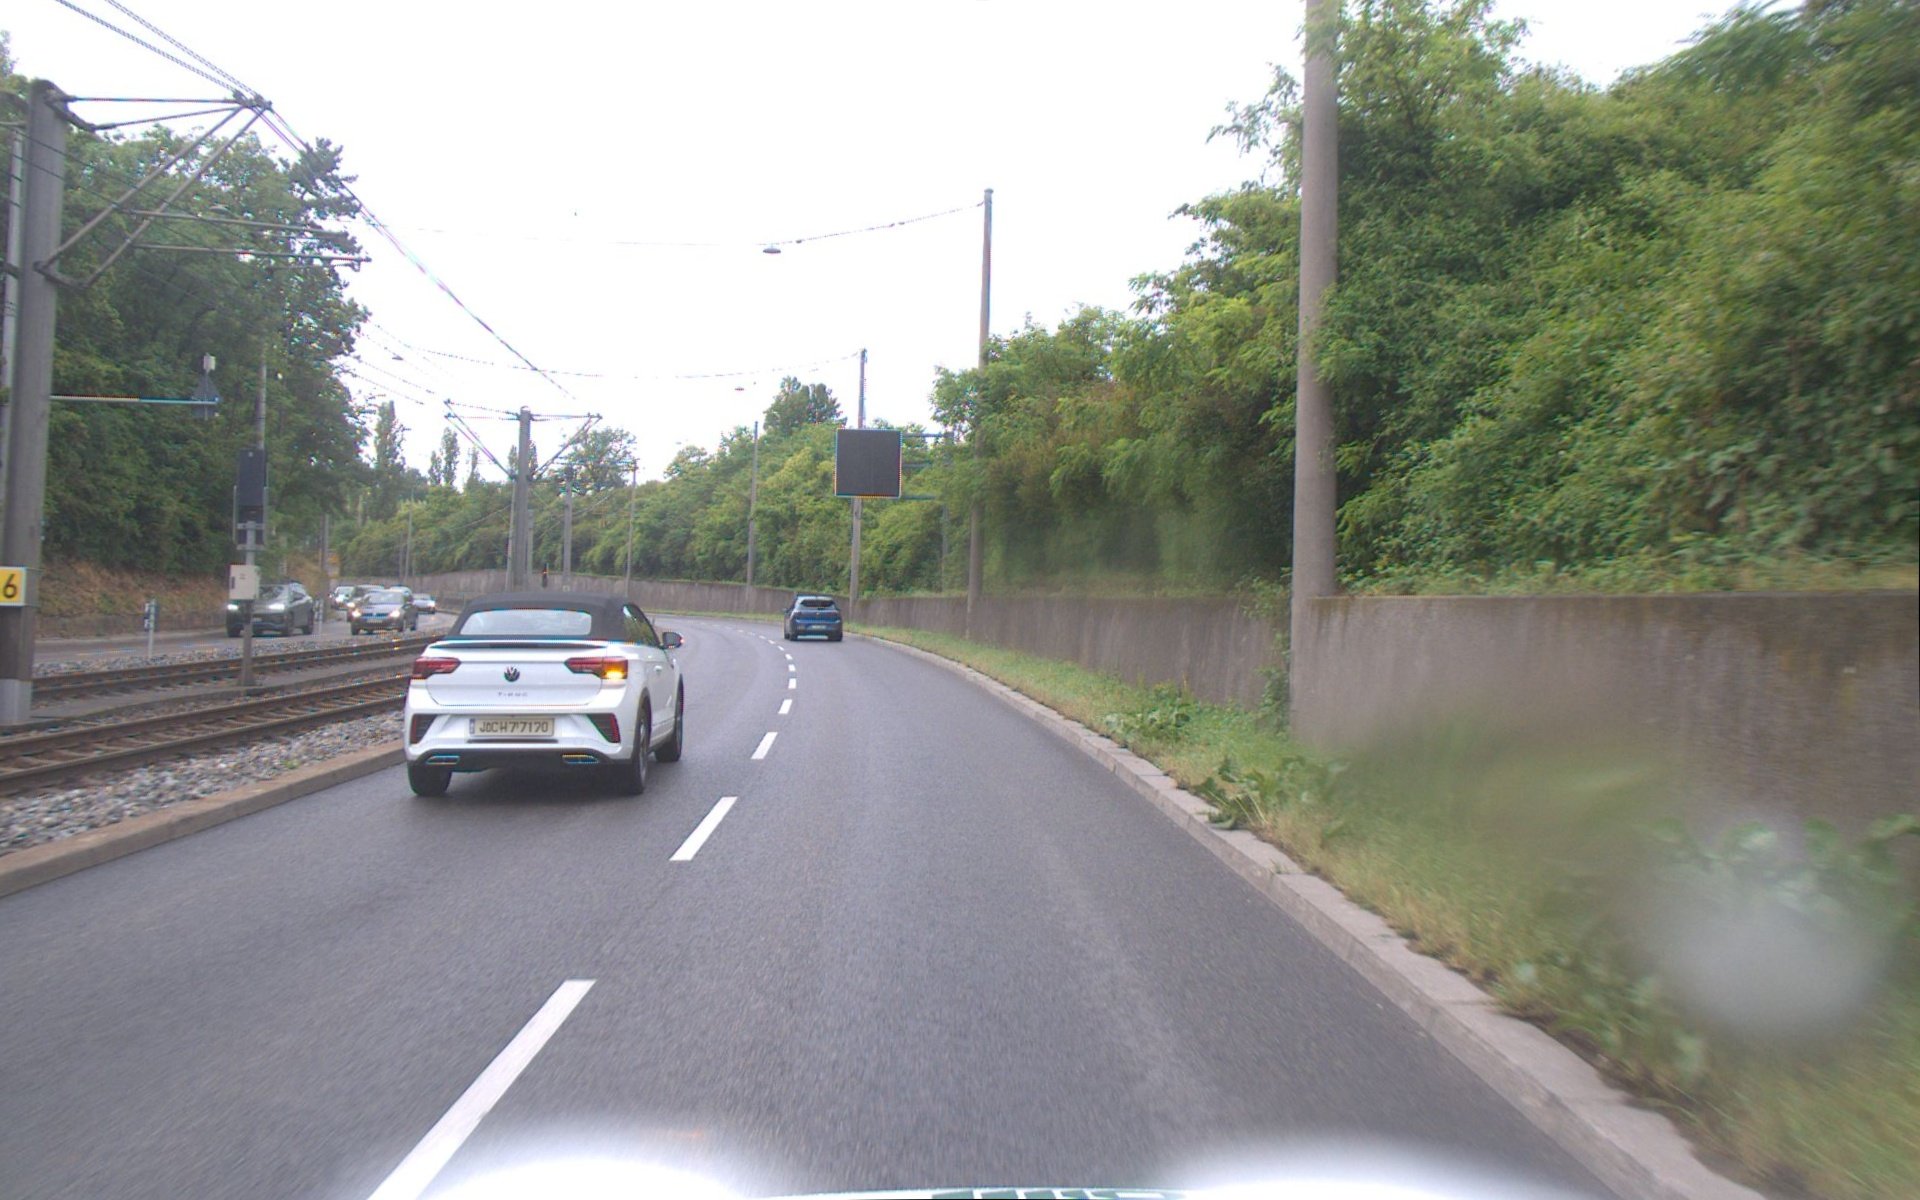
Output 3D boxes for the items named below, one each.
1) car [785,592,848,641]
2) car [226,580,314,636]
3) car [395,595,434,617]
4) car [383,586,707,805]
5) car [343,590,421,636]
[{"bbox_3d":[-4.862,0.537,55.565,1.731,1.527,3.990,1,0,-10],"label":"car"},{"bbox_3d":[-21.860,0.242,52.568,1.753,1.699,4.725,1,0,-12],"label":"car"},{"bbox_3d":[-32.612,0.349,98.859,1.526,1.280,3.922,-1,0,-28],"label":"car"},{"bbox_3d":[-3.290,0.670,14.028,1.834,1.551,4.537,0,0,-3],"label":"car"},{"bbox_3d":[-19.016,0.417,54.569,1.674,1.439,4.023,1,-1,-9],"label":"car"}]
